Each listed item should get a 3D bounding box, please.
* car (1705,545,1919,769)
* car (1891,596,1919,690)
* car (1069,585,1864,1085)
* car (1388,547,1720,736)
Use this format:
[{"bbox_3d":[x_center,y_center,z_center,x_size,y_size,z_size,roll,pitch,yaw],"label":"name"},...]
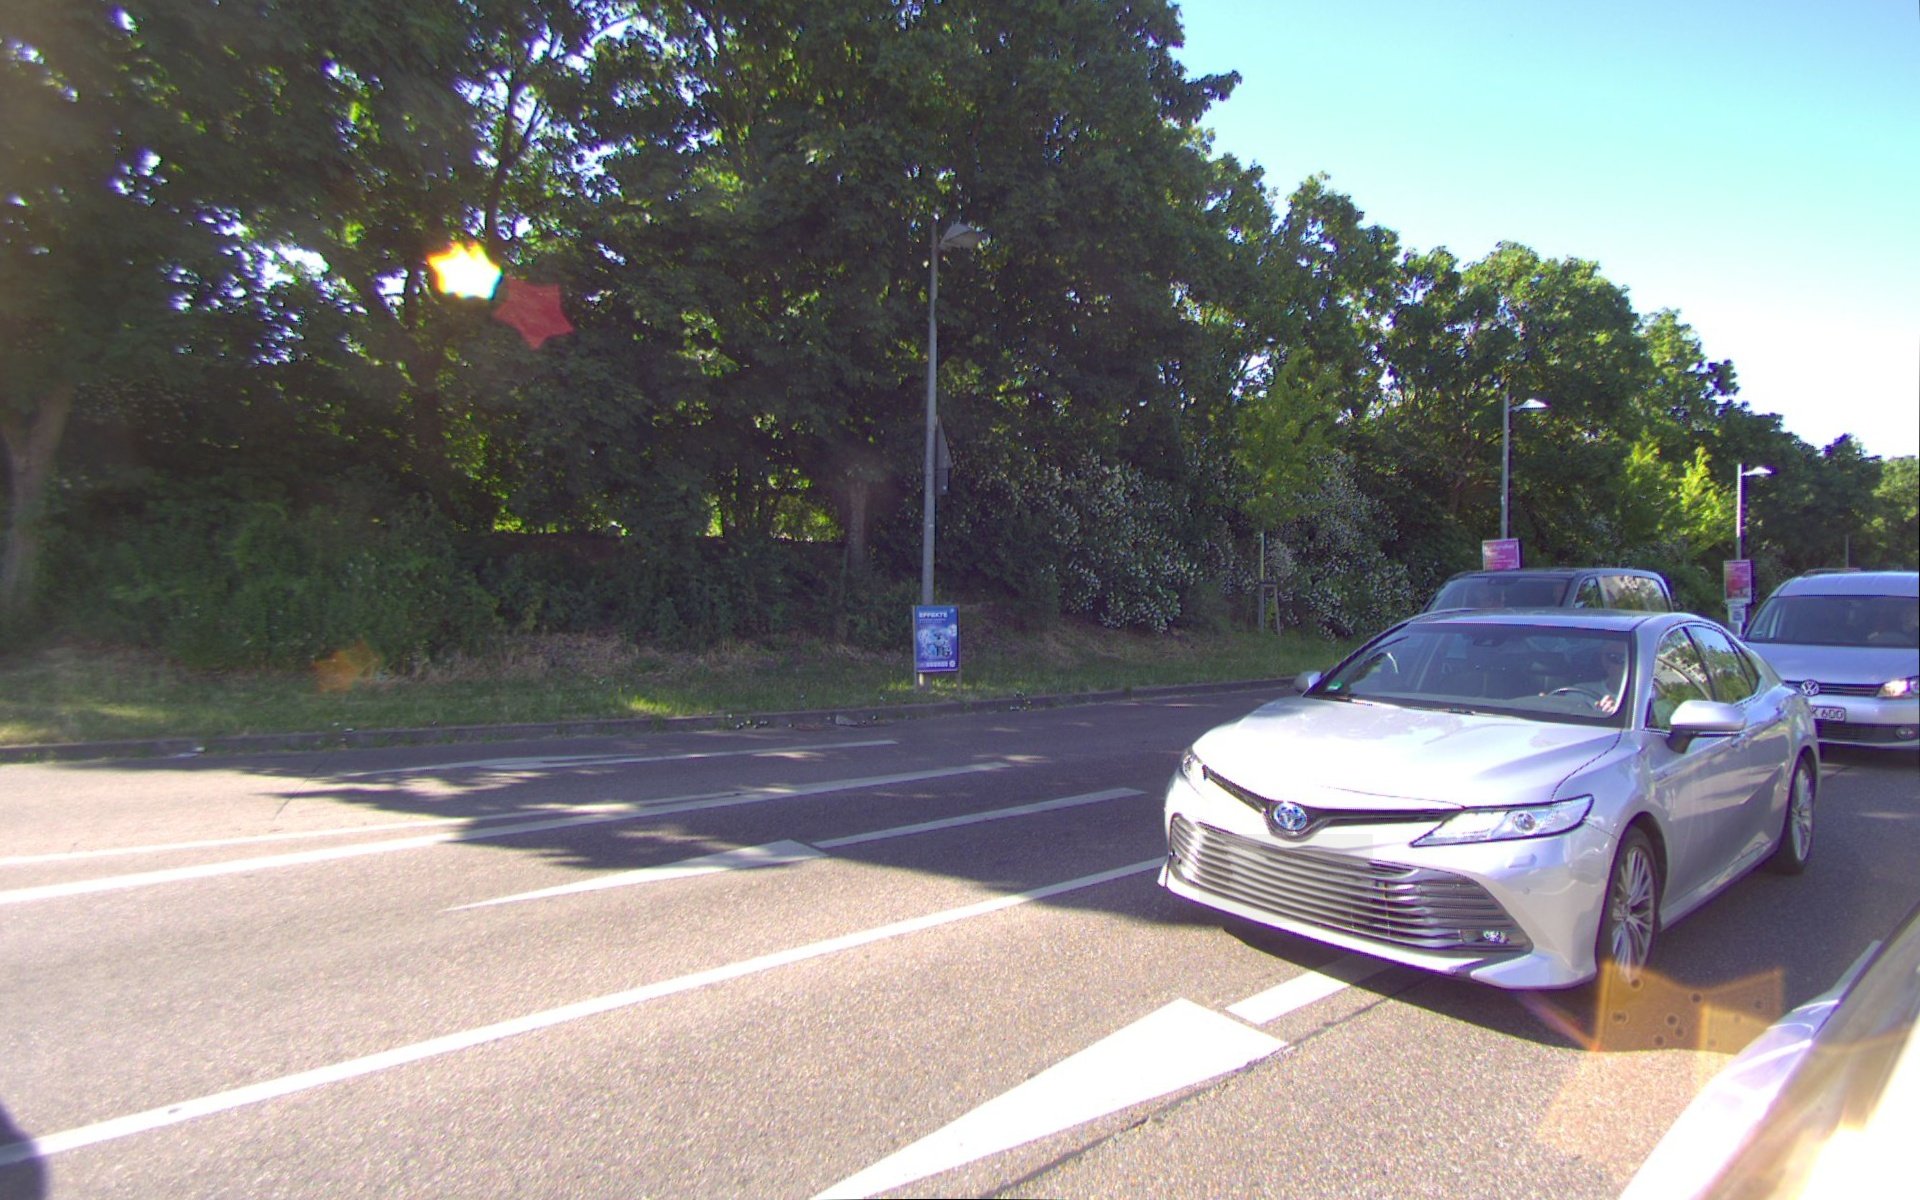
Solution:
[{"bbox_3d":[9.620,0.470,10.645,4.540,1.928,1.822,0,1,-40],"label":"car"},{"bbox_3d":[16.396,0.667,16.131,3.995,1.421,1.776,0,1,-40],"label":"car"},{"bbox_3d":[2.951,0.694,5.356,4.664,1.477,2.069,0,2,-40],"label":"car"},{"bbox_3d":[7.582,0.386,12.681,5.056,1.917,1.998,0,1,-40],"label":"car"}]
